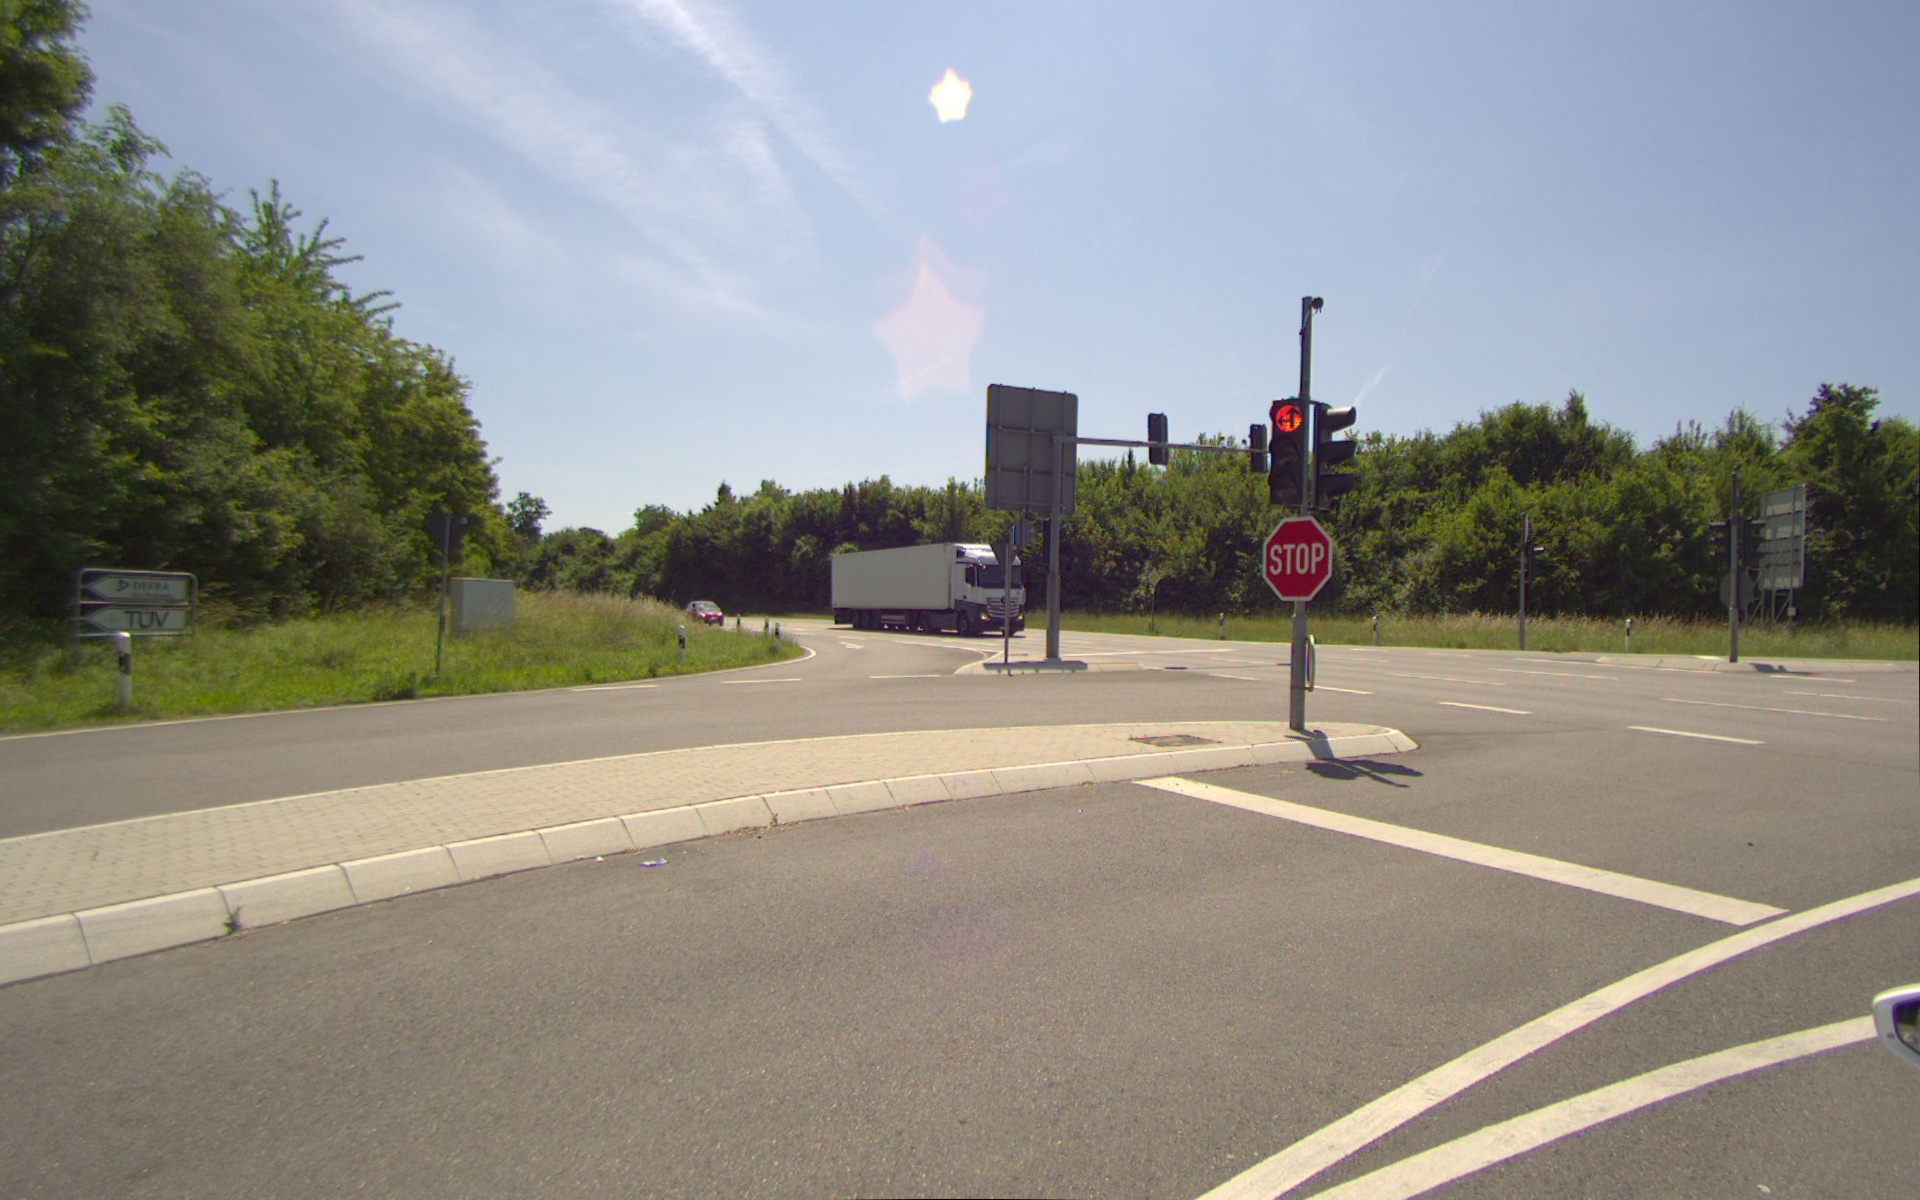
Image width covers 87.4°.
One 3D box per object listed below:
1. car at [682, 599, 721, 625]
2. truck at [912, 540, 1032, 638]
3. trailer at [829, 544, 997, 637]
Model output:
[{"bbox_3d":[-15.929,0.720,61.799,1.530,1.519,3.805,1,0,-28],"label":"car"},{"bbox_3d":[0.428,-0.451,45.179,2.629,4.090,6.231,0,0,-30],"label":"truck"},{"bbox_3d":[-2.839,-0.430,50.973,2.629,4.090,13.728,0,0,-30],"label":"trailer"}]
